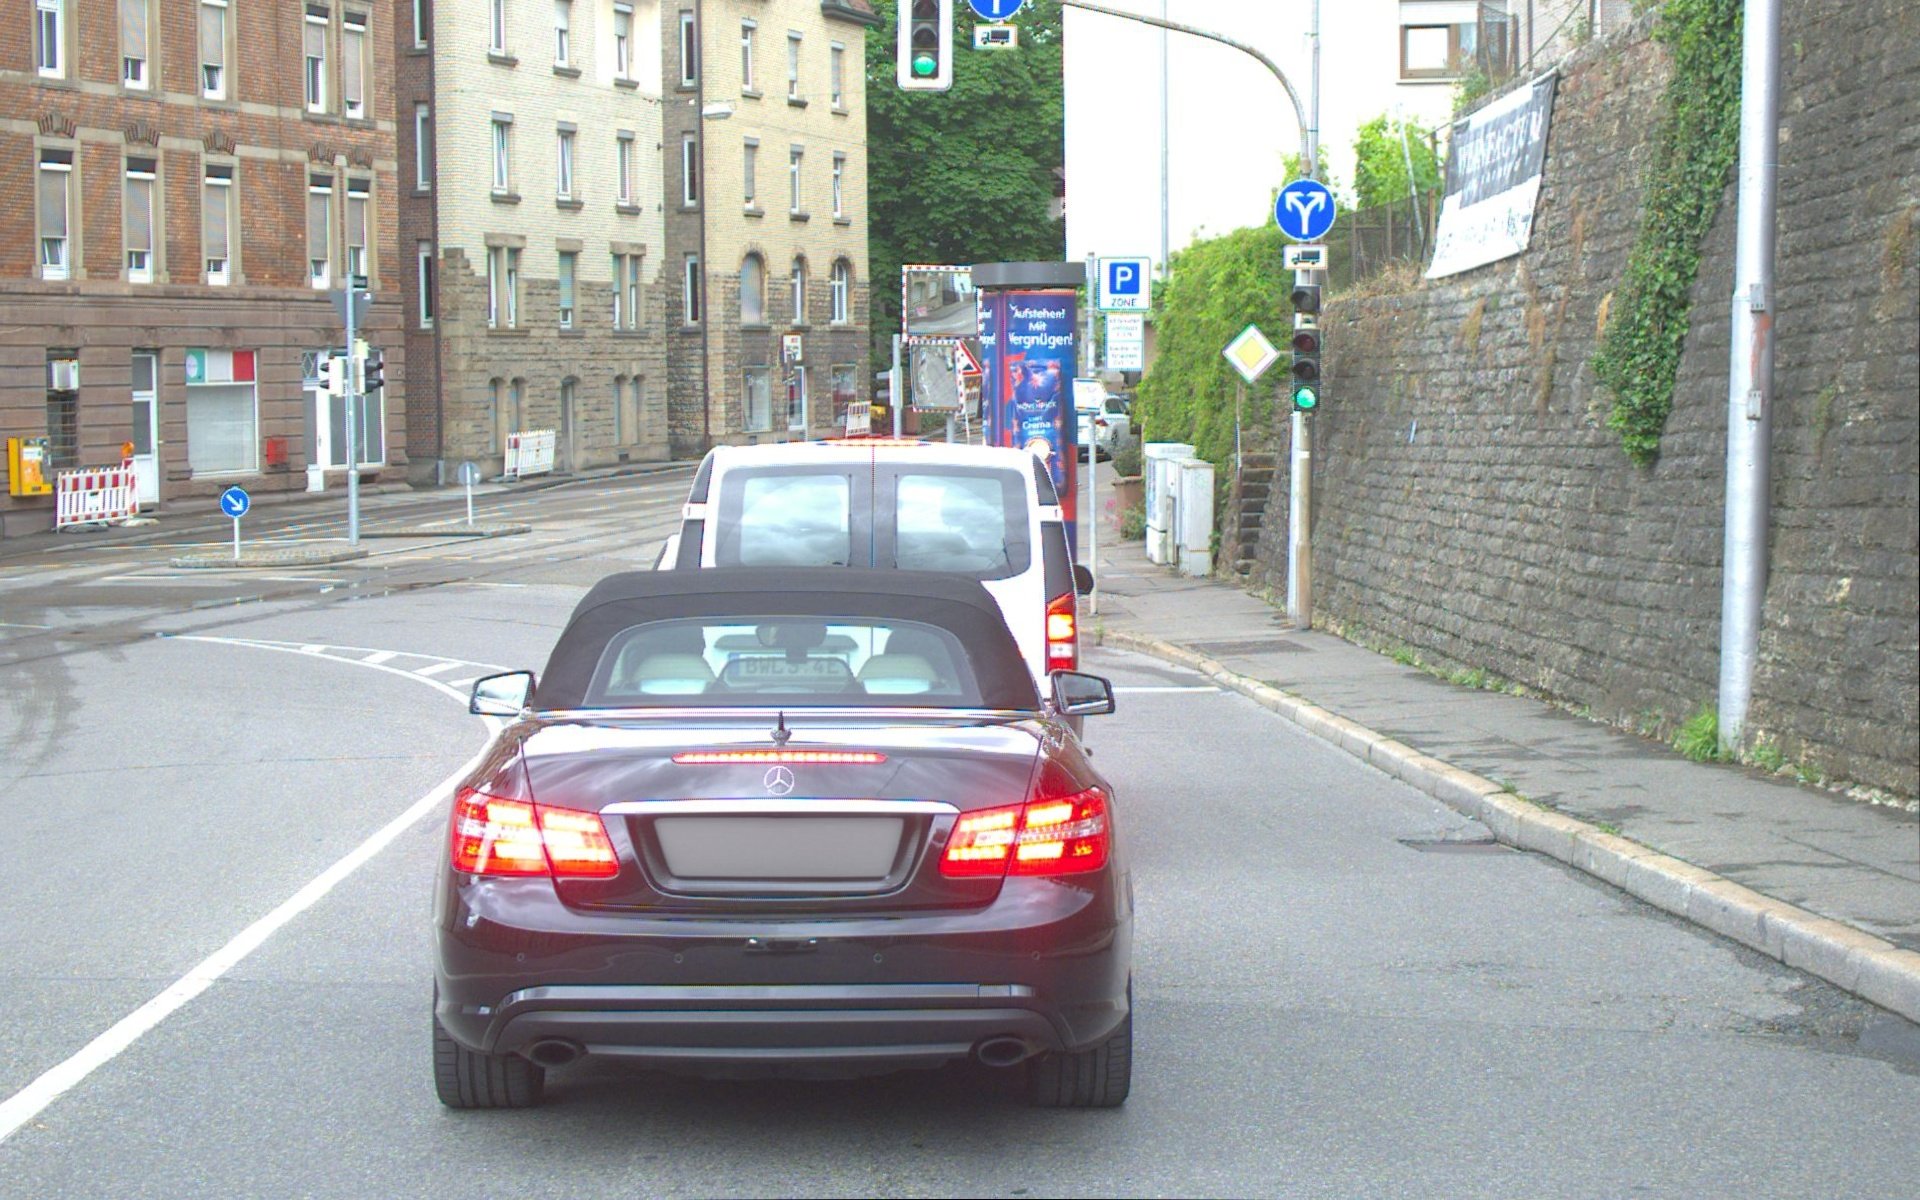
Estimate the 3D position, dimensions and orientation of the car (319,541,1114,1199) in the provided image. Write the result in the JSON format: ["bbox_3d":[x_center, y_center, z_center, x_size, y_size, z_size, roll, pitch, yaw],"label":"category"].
[{"bbox_3d":[-0.575,0.579,9.954,1.761,1.404,4.399,-1,2,-1],"label":"car"}]

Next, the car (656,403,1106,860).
[{"bbox_3d":[-0.364,0.062,16.922,1.891,1.922,4.646,-1,2,-1],"label":"car"}]

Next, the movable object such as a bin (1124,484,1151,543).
[{"bbox_3d":[2.723,-1.329,52.781,0.343,0.908,0.495,-1,2,-6],"label":"movable object such as a bin"}]

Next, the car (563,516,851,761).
[{"bbox_3d":[-1.614,0.187,23.070,1.681,1.461,3.919,-1,2,-1],"label":"car"}]
